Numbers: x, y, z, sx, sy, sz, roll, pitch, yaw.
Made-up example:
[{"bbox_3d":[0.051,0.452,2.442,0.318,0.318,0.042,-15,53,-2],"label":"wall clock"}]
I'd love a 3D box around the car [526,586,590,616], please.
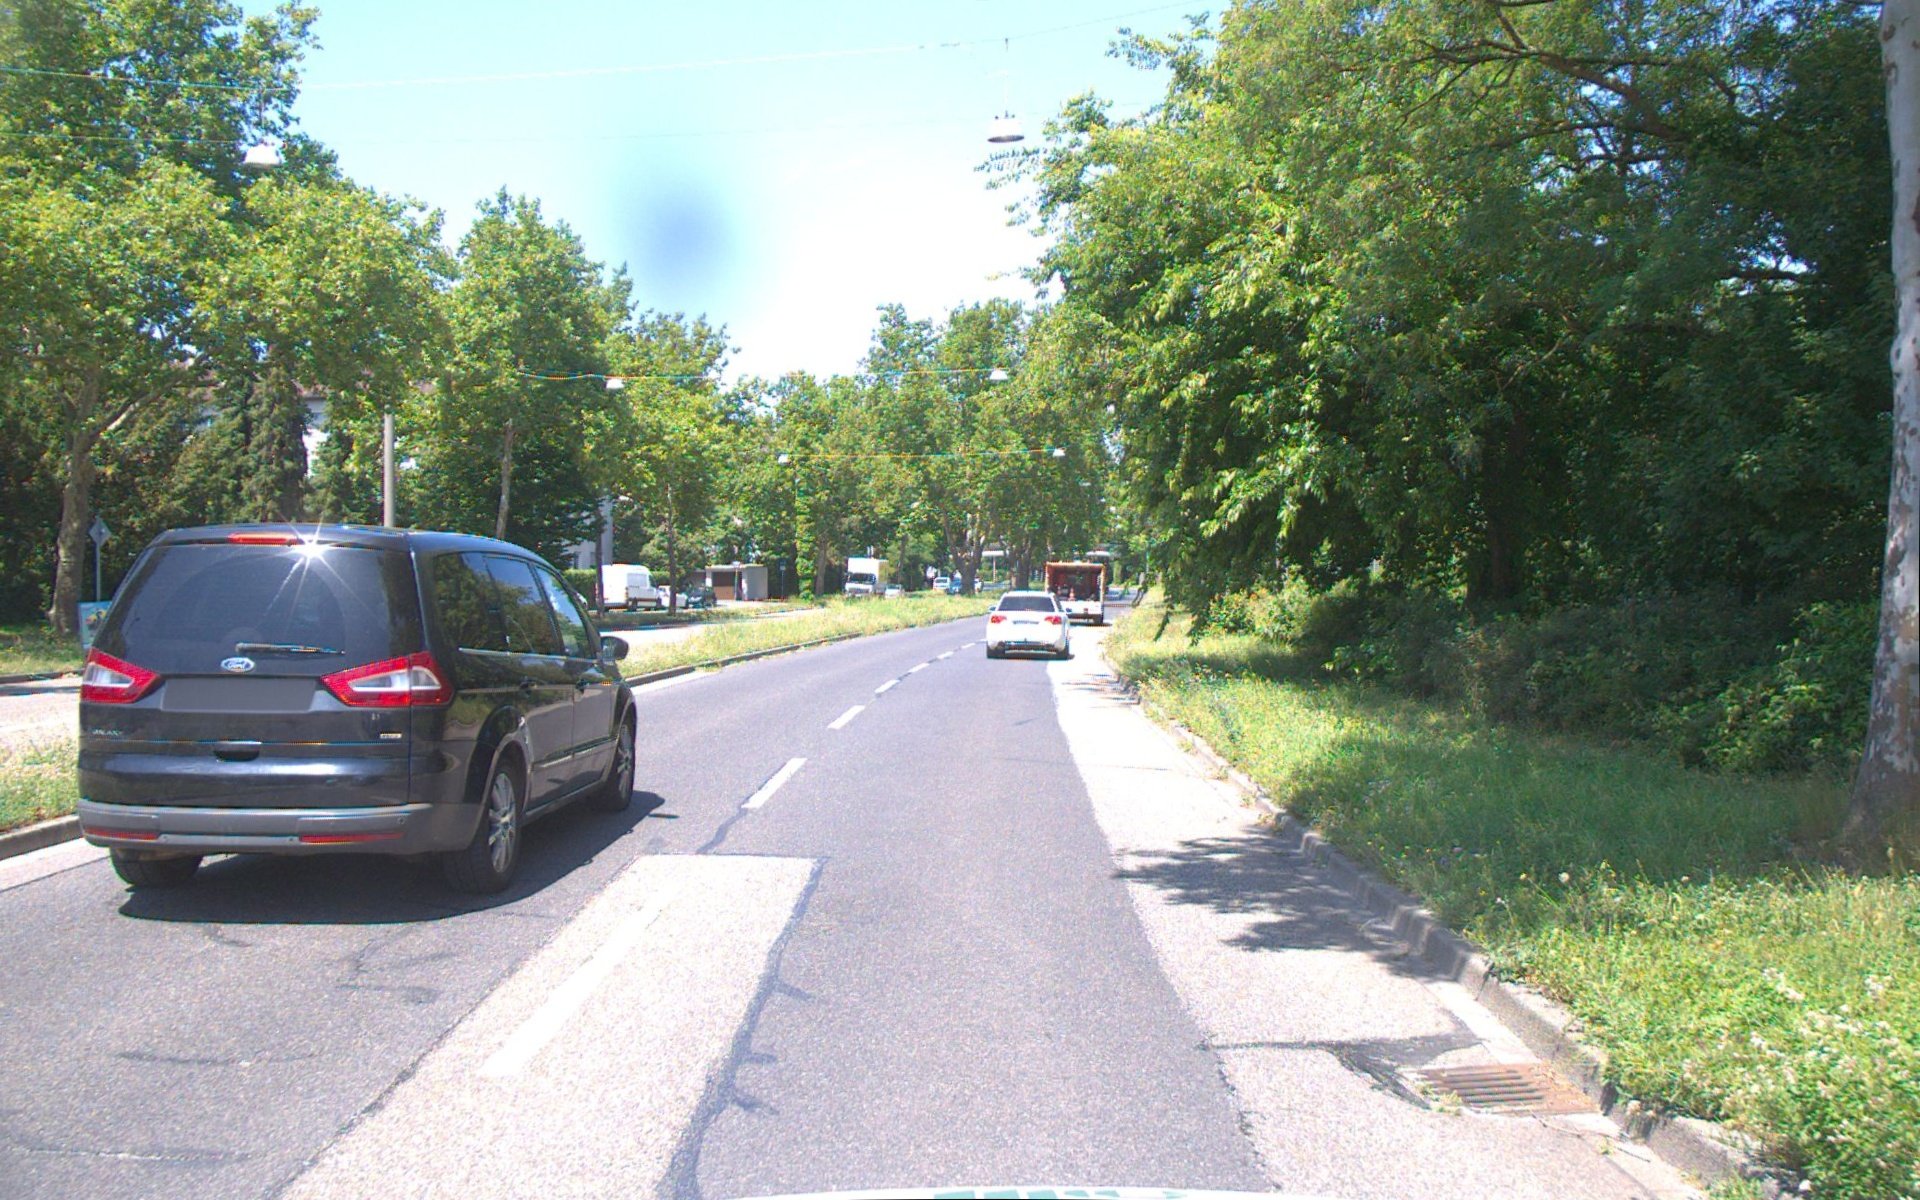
[{"bbox_3d":[-20.922,0.038,86.228,1.841,1.500,4.003,0,1,8],"label":"car"}]

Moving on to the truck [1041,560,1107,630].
[{"bbox_3d":[4.569,-0.271,66.889,2.458,2.604,7.607,1,1,3],"label":"truck"}]

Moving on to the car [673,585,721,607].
[{"bbox_3d":[-17.073,-0.272,107.545,1.789,1.415,3.951,0,1,12],"label":"car"}]

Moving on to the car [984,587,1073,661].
[{"bbox_3d":[1.536,0.481,35.999,1.725,1.470,3.618,2,0,5],"label":"car"}]

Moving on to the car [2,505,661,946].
[{"bbox_3d":[-2.985,0.485,9.075,1.816,1.786,4.649,0,1,0],"label":"car"}]

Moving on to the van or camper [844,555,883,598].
[{"bbox_3d":[-7.850,-1.924,135.437,2.605,3.389,5.503,0,1,3],"label":"van or camper"}]

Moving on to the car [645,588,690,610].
[{"bbox_3d":[-17.980,-0.077,101.830,1.657,1.306,3.806,0,1,7],"label":"car"}]

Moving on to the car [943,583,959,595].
[{"bbox_3d":[-1.000,-1.205,180.549,1.735,1.355,3.659,-1,1,-1],"label":"car"}]

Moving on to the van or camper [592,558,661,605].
[{"bbox_3d":[-19.174,-1.071,95.276,2.136,2.632,5.314,0,1,9],"label":"van or camper"}]

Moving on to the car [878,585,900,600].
[{"bbox_3d":[-6.477,-0.689,150.555,1.875,1.231,4.334,-1,1,-1],"label":"car"}]
